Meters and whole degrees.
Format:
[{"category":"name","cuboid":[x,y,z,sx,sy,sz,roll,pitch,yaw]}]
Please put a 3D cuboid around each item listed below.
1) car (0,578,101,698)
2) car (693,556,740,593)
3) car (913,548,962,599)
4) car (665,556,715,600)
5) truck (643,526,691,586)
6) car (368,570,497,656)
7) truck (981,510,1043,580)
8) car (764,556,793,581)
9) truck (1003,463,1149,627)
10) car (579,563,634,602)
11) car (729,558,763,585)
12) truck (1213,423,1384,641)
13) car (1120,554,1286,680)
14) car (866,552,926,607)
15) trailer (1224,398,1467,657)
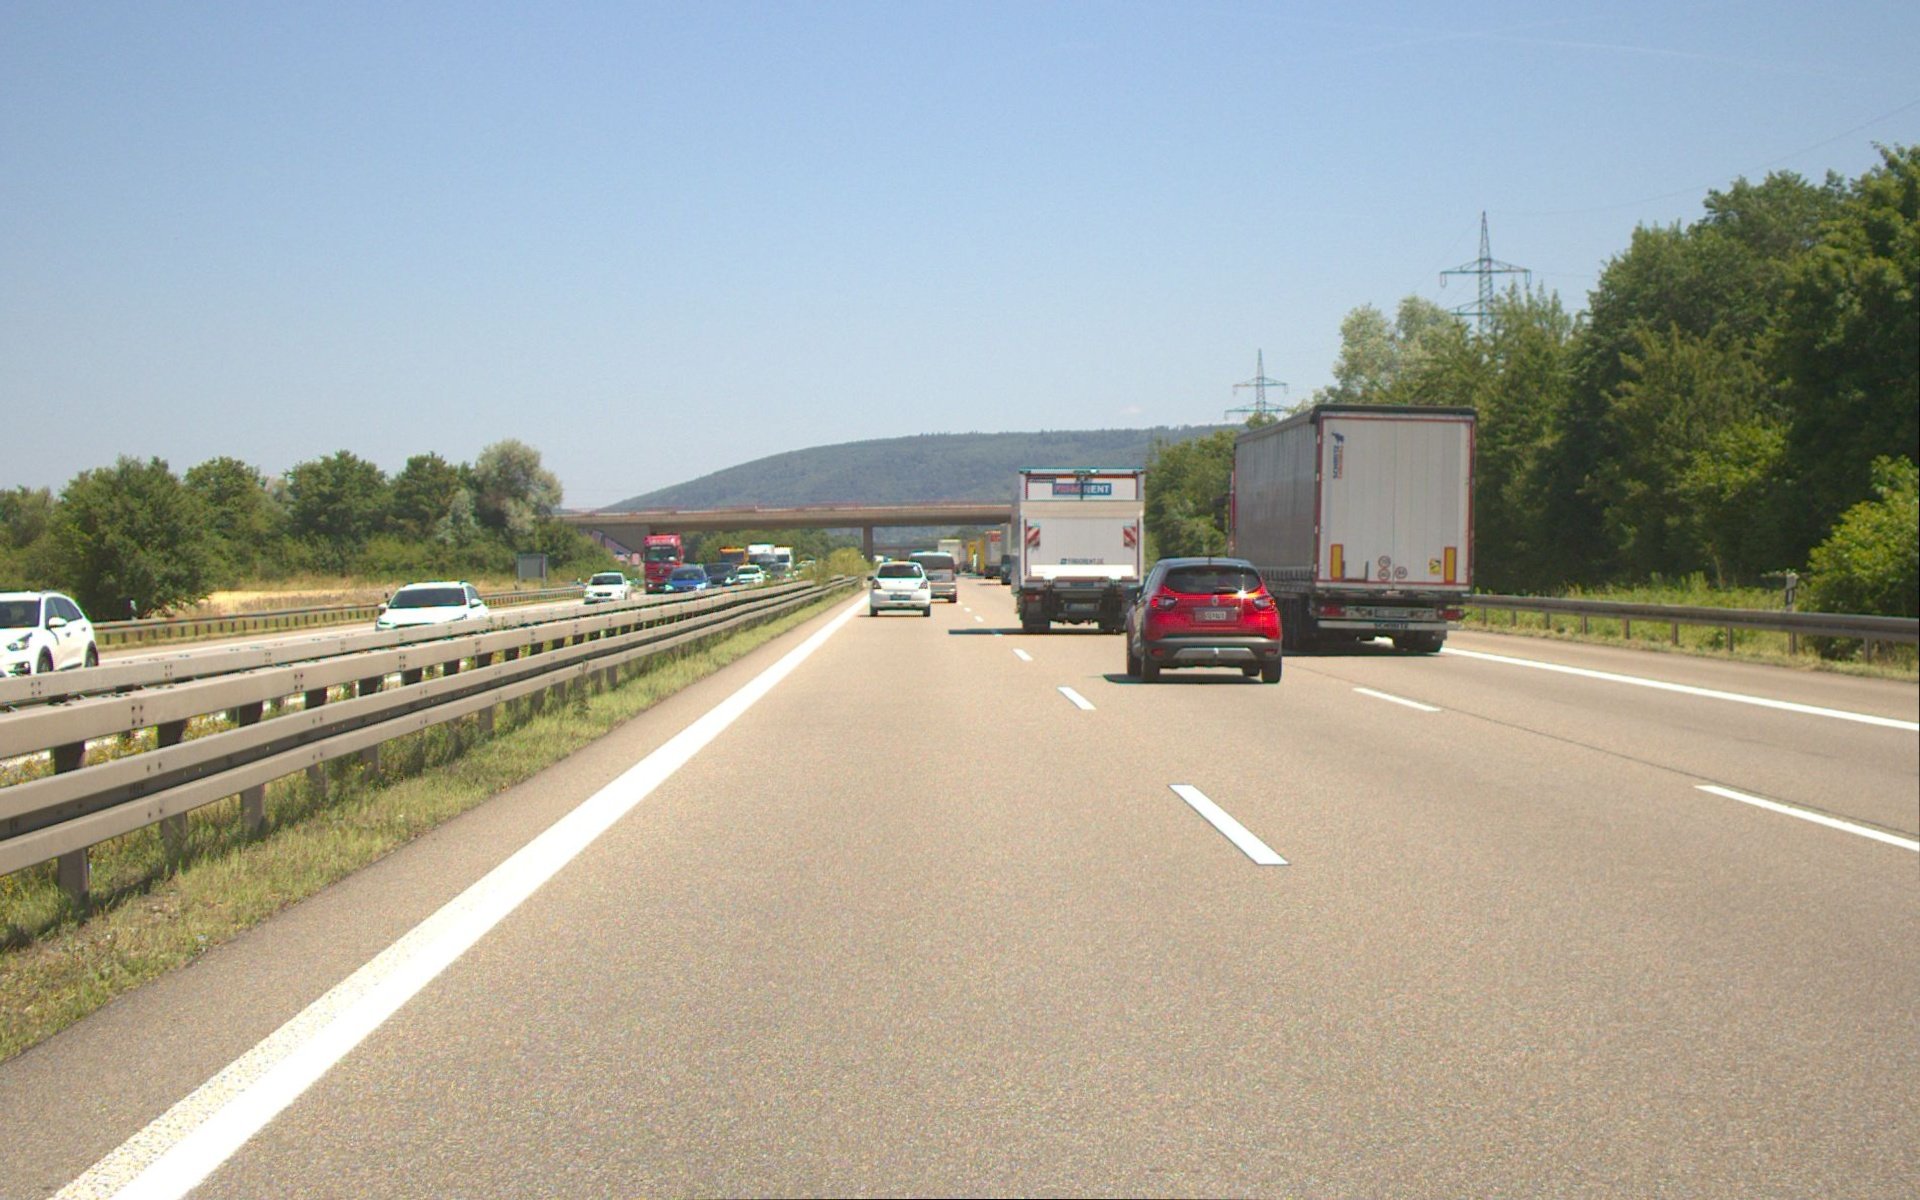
[{"category":"car","cuboid":[-13.556,0.539,48.578,1.835,1.579,3.889,-3,1,-1]},{"category":"car","cuboid":[-11.835,-1.255,167.296,1.959,1.766,4.443,-1,1,-1]},{"category":"car","cuboid":[-0.841,-1.004,128.066,1.761,1.844,4.000,-1,1,0]},{"category":"car","cuboid":[-11.213,-0.947,143.045,1.767,1.744,3.986,-2,1,-1]},{"category":"truck","cuboid":[-20.297,-3.049,238.649,2.760,4.000,5.751,-3,1,-1]},{"category":"car","cuboid":[-9.989,0.215,65.371,1.795,1.487,4.238,-2,1,-1]},{"category":"truck","cuboid":[3.353,-3.581,225.707,3.520,4.401,14.592,-2,1,-1]},{"category":"car","cuboid":[-12.837,-2.234,243.267,1.809,1.642,3.962,-2,1,-1]},{"category":"truck","cuboid":[2.441,-1.179,74.867,2.782,3.361,8.128,0,1,-1]},{"category":"car","cuboid":[-14.997,-0.745,146.069,1.879,1.561,4.192,-2,1,-1]},{"category":"car","cuboid":[-12.831,-1.726,206.485,1.809,1.531,3.962,-2,1,-1]},{"category":"truck","cuboid":[6.709,-1.344,68.872,2.795,4.149,5.723,0,1,0]},{"category":"car","cuboid":[3.067,0.183,44.038,1.803,1.540,4.000,0,1,-1]},{"category":"car","cuboid":[-1.776,-0.594,96.101,1.607,1.462,4.000,-1,1,0]},{"category":"trailer","cuboid":[6.742,-1.254,62.243,2.789,4.149,13.575,0,1,0]}]
